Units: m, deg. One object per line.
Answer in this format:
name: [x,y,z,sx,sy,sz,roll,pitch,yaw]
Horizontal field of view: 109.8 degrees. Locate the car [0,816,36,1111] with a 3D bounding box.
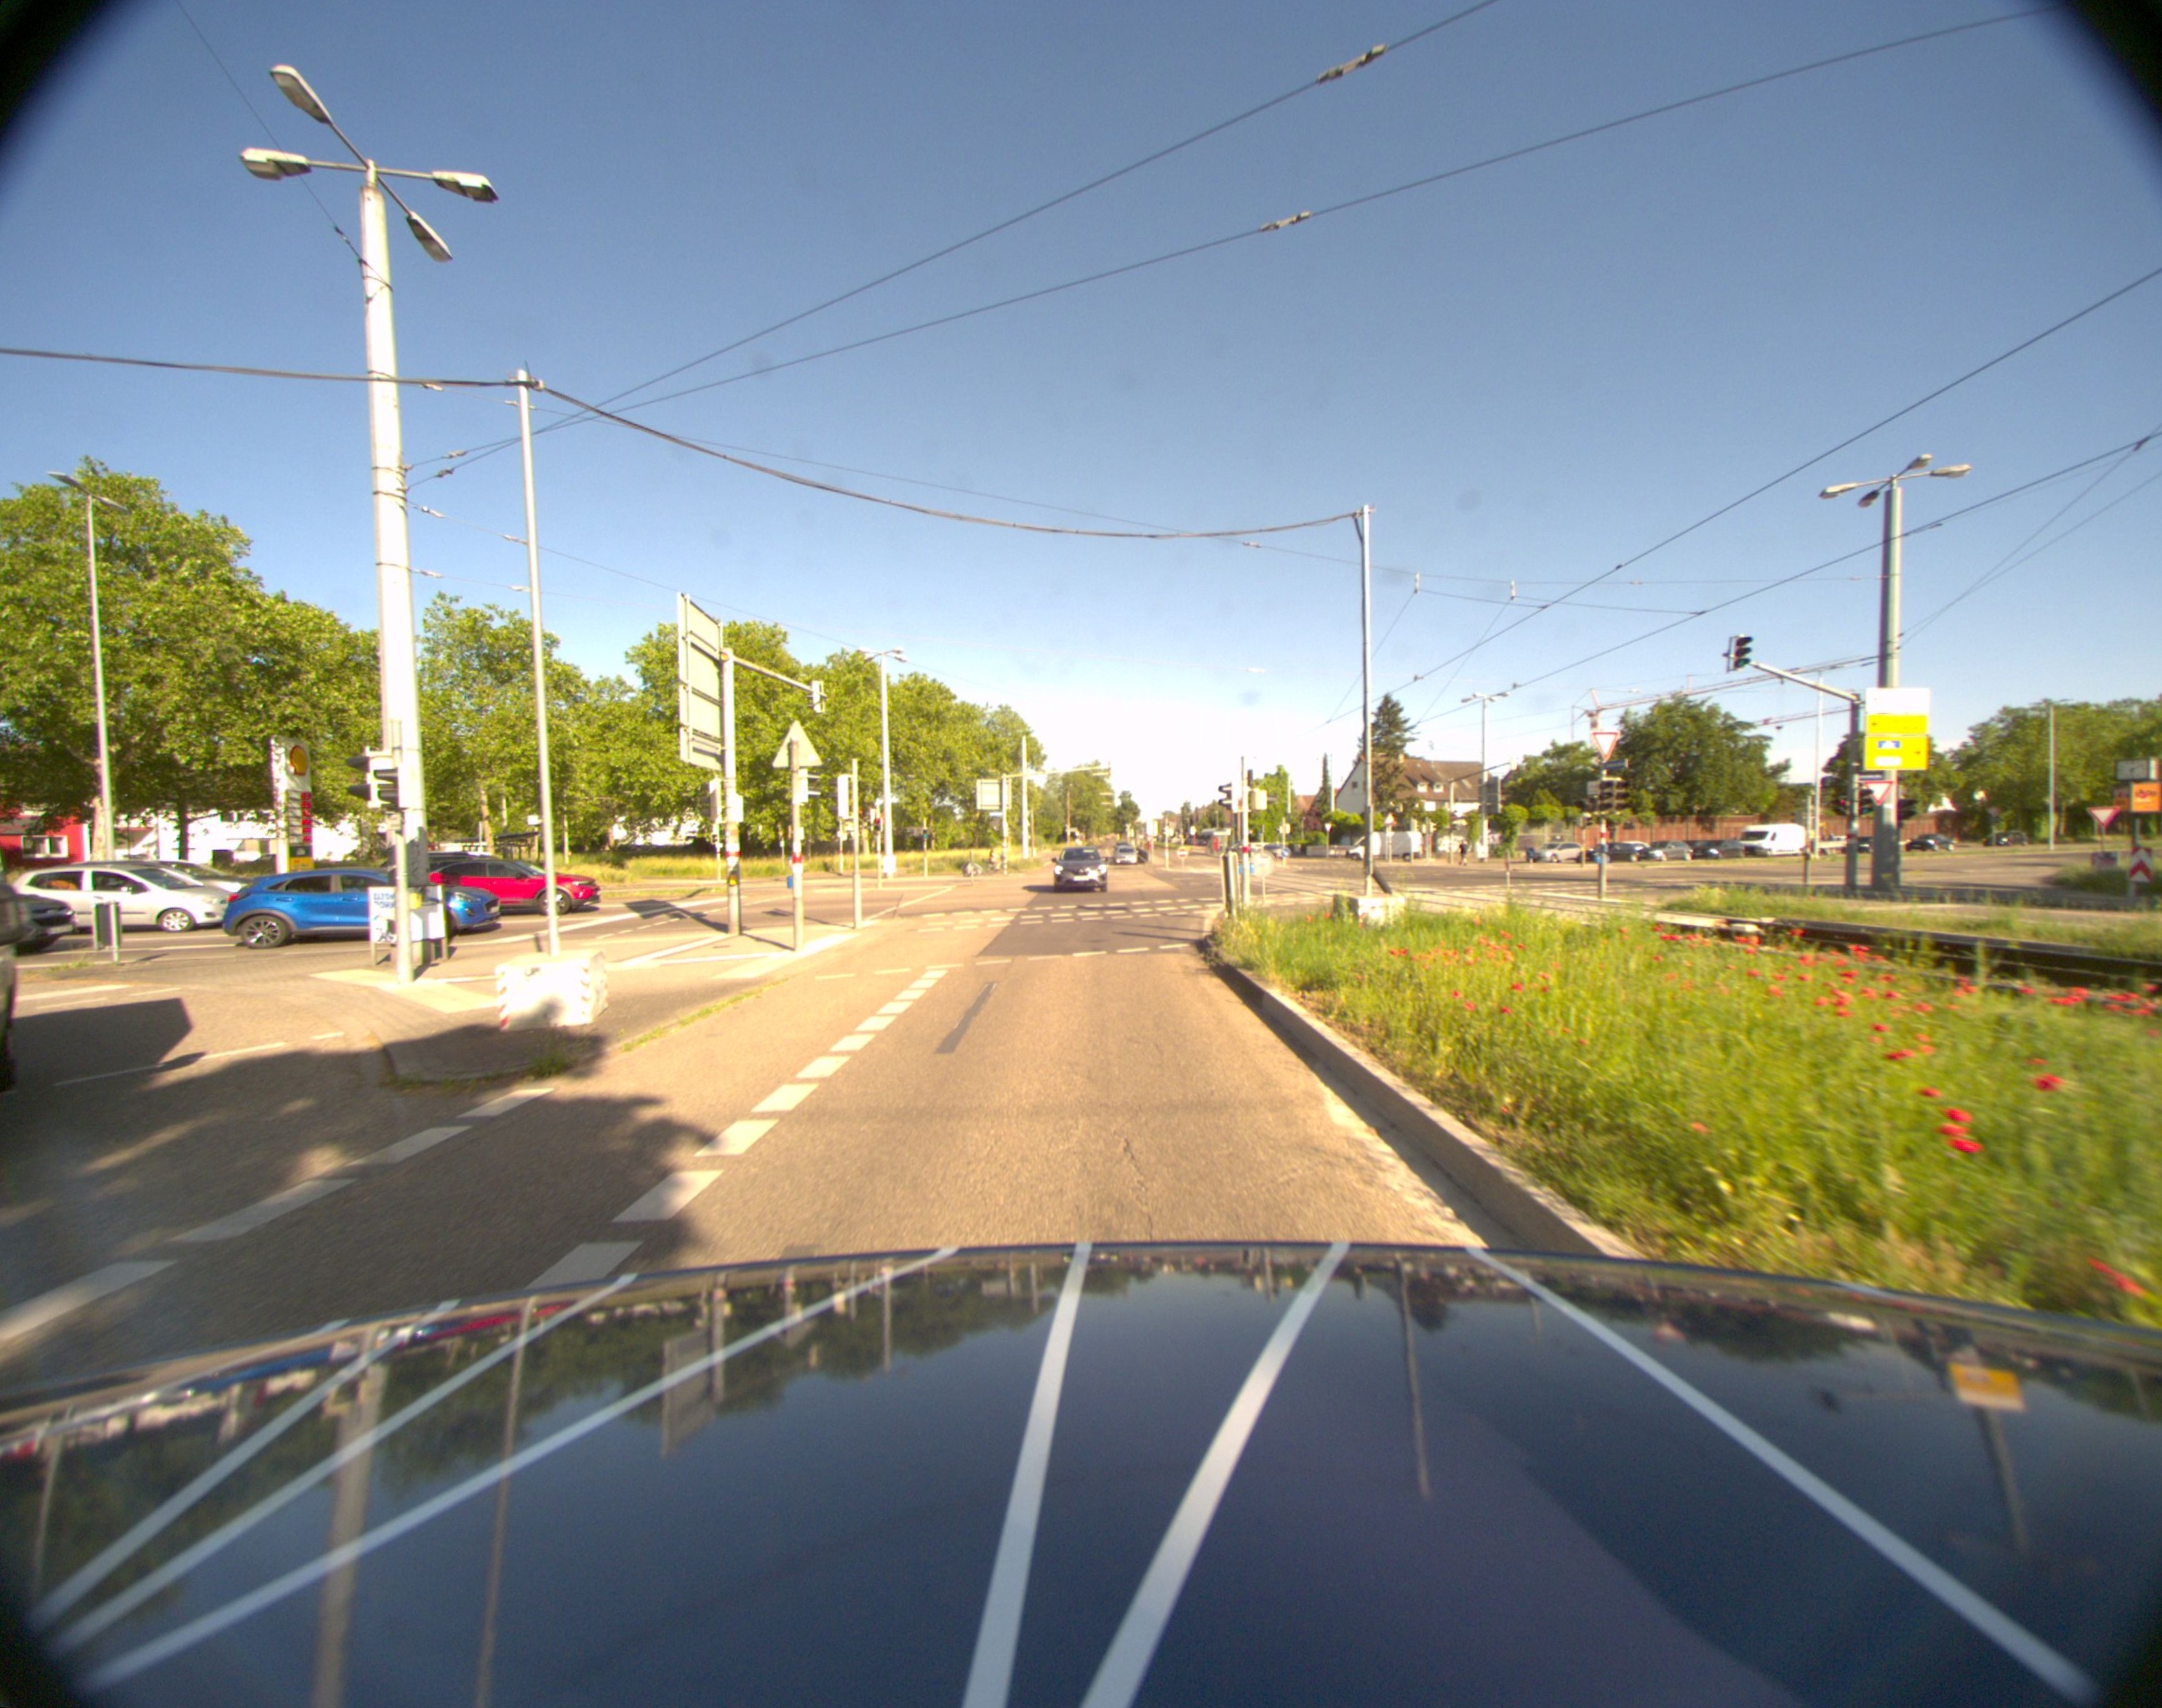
car: [-7.728,0.776,4.022,5.104,2.058,2.135,0,2,40]

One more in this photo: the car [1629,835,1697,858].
car: [39.883,-0.495,52.074,4.264,1.458,1.934,-1,1,-25]

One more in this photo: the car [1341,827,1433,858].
car: [25.442,-0.955,63.219,6.852,2.444,2.353,0,2,28]

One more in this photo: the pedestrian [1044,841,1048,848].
pedestrian: [-5.310,-1.444,114.897,0.482,1.027,0.454,0,2,3]

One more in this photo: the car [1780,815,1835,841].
car: [56.751,-2.039,59.349,4.005,2.002,1.804,-1,2,-25]

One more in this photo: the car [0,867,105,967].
car: [-20.838,1.147,13.219,4.281,1.669,1.930,-1,1,-26]

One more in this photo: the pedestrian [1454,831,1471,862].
pedestrian: [24.525,-0.480,48.851,0.612,1.937,0.774,-2,2,-41]

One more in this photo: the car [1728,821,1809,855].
car: [51.319,-1.201,56.710,5.928,2.397,2.176,-1,2,-23]

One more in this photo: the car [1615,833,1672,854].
car: [41.880,-0.788,56.597,4.005,1.469,1.669,-1,2,-25]

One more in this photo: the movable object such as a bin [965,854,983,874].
movable object such as a bin: [-6.098,0.572,43.402,0.911,1.062,1.316,-1,2,-4]

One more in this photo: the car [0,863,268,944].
car: [-21.656,1.056,17.315,3.864,1.591,1.710,-1,1,-22]

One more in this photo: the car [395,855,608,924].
car: [-15.126,0.869,20.137,4.094,1.591,1.813,-1,2,-22]

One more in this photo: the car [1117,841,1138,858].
car: [4.606,-0.473,75.555,1.755,1.526,4.193,0,1,0]

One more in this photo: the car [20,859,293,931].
car: [-23.807,0.985,19.829,4.005,1.609,1.996,-1,1,-25]

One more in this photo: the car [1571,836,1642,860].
car: [34.655,-0.427,50.103,4.254,1.458,1.934,-1,1,-25]

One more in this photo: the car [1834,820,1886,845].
car: [64.349,-1.781,62.743,4.005,2.002,1.804,-1,2,-26]

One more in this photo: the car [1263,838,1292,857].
car: [17.813,-0.594,68.933,1.795,1.678,4.001,-1,1,3]

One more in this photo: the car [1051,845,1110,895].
car: [0.045,0.502,26.567,1.838,1.542,3.815,0,1,3]

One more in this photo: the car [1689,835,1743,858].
car: [45.118,-0.520,53.984,3.531,1.559,1.494,-1,1,-23]

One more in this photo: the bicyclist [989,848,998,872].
bicyclist: [-5.092,0.340,44.145,0.511,1.333,0.564,-1,2,-7]

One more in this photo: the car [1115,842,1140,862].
car: [3.754,-0.210,61.760,1.881,1.519,4.420,0,1,2]

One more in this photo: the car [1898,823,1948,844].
car: [72.580,-1.787,65.491,4.005,1.732,1.804,-1,1,-26]

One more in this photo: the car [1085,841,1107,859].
car: [1.344,-0.380,68.931,1.839,1.542,3.814,-1,1,-1]

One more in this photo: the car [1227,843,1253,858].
car: [18.099,-0.418,86.765,1.818,1.587,4.691,-1,1,-2]

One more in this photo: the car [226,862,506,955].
car: [-14.712,1.047,15.951,3.864,1.592,1.709,-2,3,-24]

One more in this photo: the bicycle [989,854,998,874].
bicycle: [-5.161,0.604,44.763,0.468,1.112,1.819,-1,1,-6]

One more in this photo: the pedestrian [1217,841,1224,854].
pedestrian: [15.875,-0.728,86.386,0.623,1.406,0.711,-1,1,1]

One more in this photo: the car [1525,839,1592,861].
car: [33.256,-0.299,52.906,4.642,1.469,1.669,-1,2,-25]

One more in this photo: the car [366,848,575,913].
car: [-18.005,0.709,22.740,4.500,1.702,1.916,-1,2,-25]
